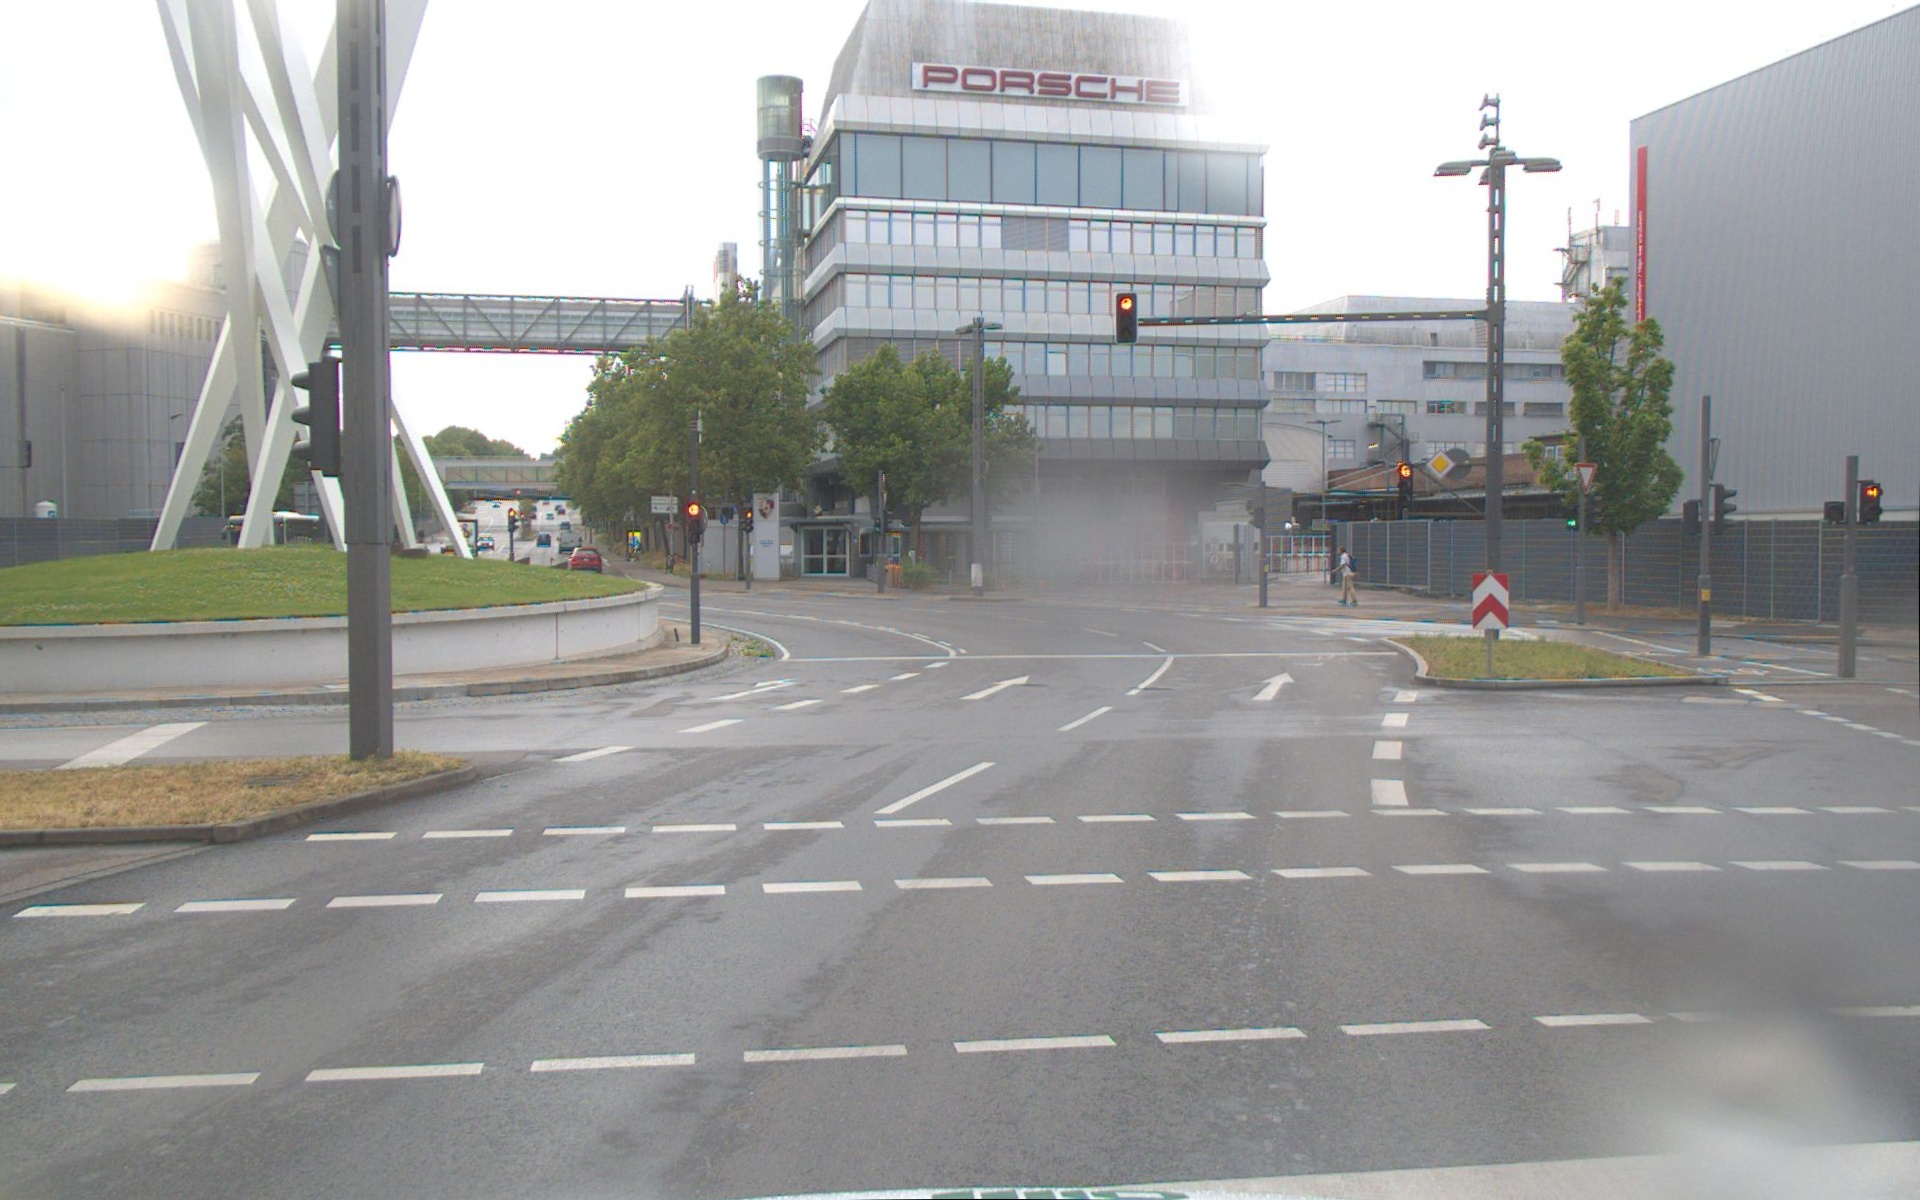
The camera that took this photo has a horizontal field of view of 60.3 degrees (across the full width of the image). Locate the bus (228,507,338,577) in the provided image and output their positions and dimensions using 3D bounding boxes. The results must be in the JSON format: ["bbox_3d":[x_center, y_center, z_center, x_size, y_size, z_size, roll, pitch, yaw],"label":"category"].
[{"bbox_3d":[-33.996,-2.807,83.586,2.621,3.257,12.638,0,1,-10],"label":"bus"}]

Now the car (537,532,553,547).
[{"bbox_3d":[-49.055,-7.111,195.367,1.735,1.654,3.414,0,-1,-17],"label":"car"}]

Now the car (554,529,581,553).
[{"bbox_3d":[-38.542,-5.780,162.400,2.198,2.145,4.929,0,-1,-18],"label":"car"}]

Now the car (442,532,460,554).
[{"bbox_3d":[-50.021,-5.573,162.613,1.600,2.049,3.718,0,1,-15],"label":"car"}]

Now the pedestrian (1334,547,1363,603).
[{"bbox_3d":[11.500,-0.738,48.905,0.791,1.639,0.770,-1,-1,16],"label":"pedestrian"}]

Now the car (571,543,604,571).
[{"bbox_3d":[-20.903,-2.406,92.886,1.742,1.490,3.720,0,0,-13],"label":"car"}]

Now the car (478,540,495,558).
[{"bbox_3d":[-50.087,-5.379,175.071,1.600,1.848,3.718,0,1,-15],"label":"car"}]
